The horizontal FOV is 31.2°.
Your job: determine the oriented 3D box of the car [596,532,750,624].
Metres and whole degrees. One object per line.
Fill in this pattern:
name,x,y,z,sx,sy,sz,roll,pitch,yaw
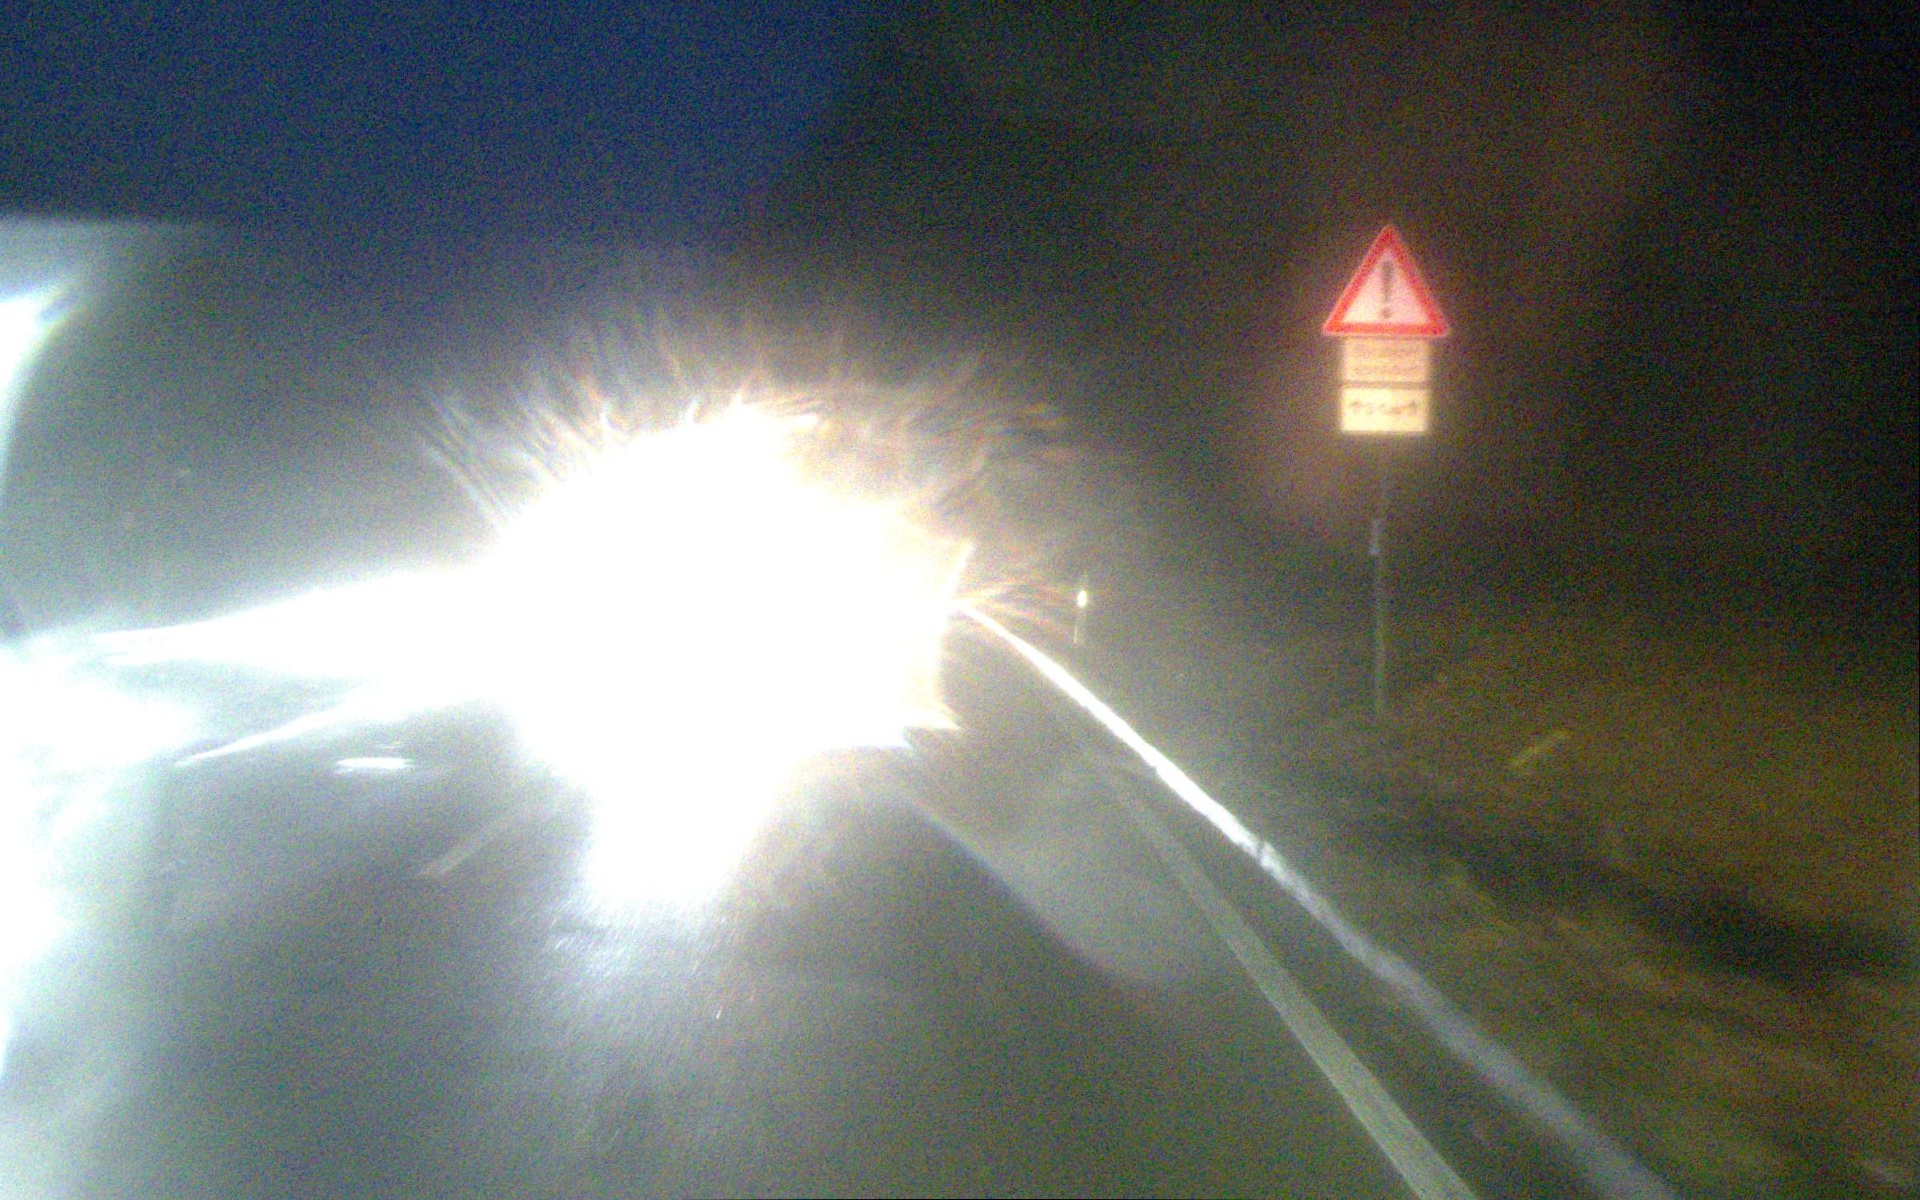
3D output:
car,-4.770,-0.349,57.693,1.976,1.457,4.281,1,0,3

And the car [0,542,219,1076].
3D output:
car,-3.750,0.590,10.524,1.993,1.491,4.357,1,2,0

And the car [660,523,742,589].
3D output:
car,-6.201,-1.077,82.787,1.855,1.516,4.681,1,1,-3
